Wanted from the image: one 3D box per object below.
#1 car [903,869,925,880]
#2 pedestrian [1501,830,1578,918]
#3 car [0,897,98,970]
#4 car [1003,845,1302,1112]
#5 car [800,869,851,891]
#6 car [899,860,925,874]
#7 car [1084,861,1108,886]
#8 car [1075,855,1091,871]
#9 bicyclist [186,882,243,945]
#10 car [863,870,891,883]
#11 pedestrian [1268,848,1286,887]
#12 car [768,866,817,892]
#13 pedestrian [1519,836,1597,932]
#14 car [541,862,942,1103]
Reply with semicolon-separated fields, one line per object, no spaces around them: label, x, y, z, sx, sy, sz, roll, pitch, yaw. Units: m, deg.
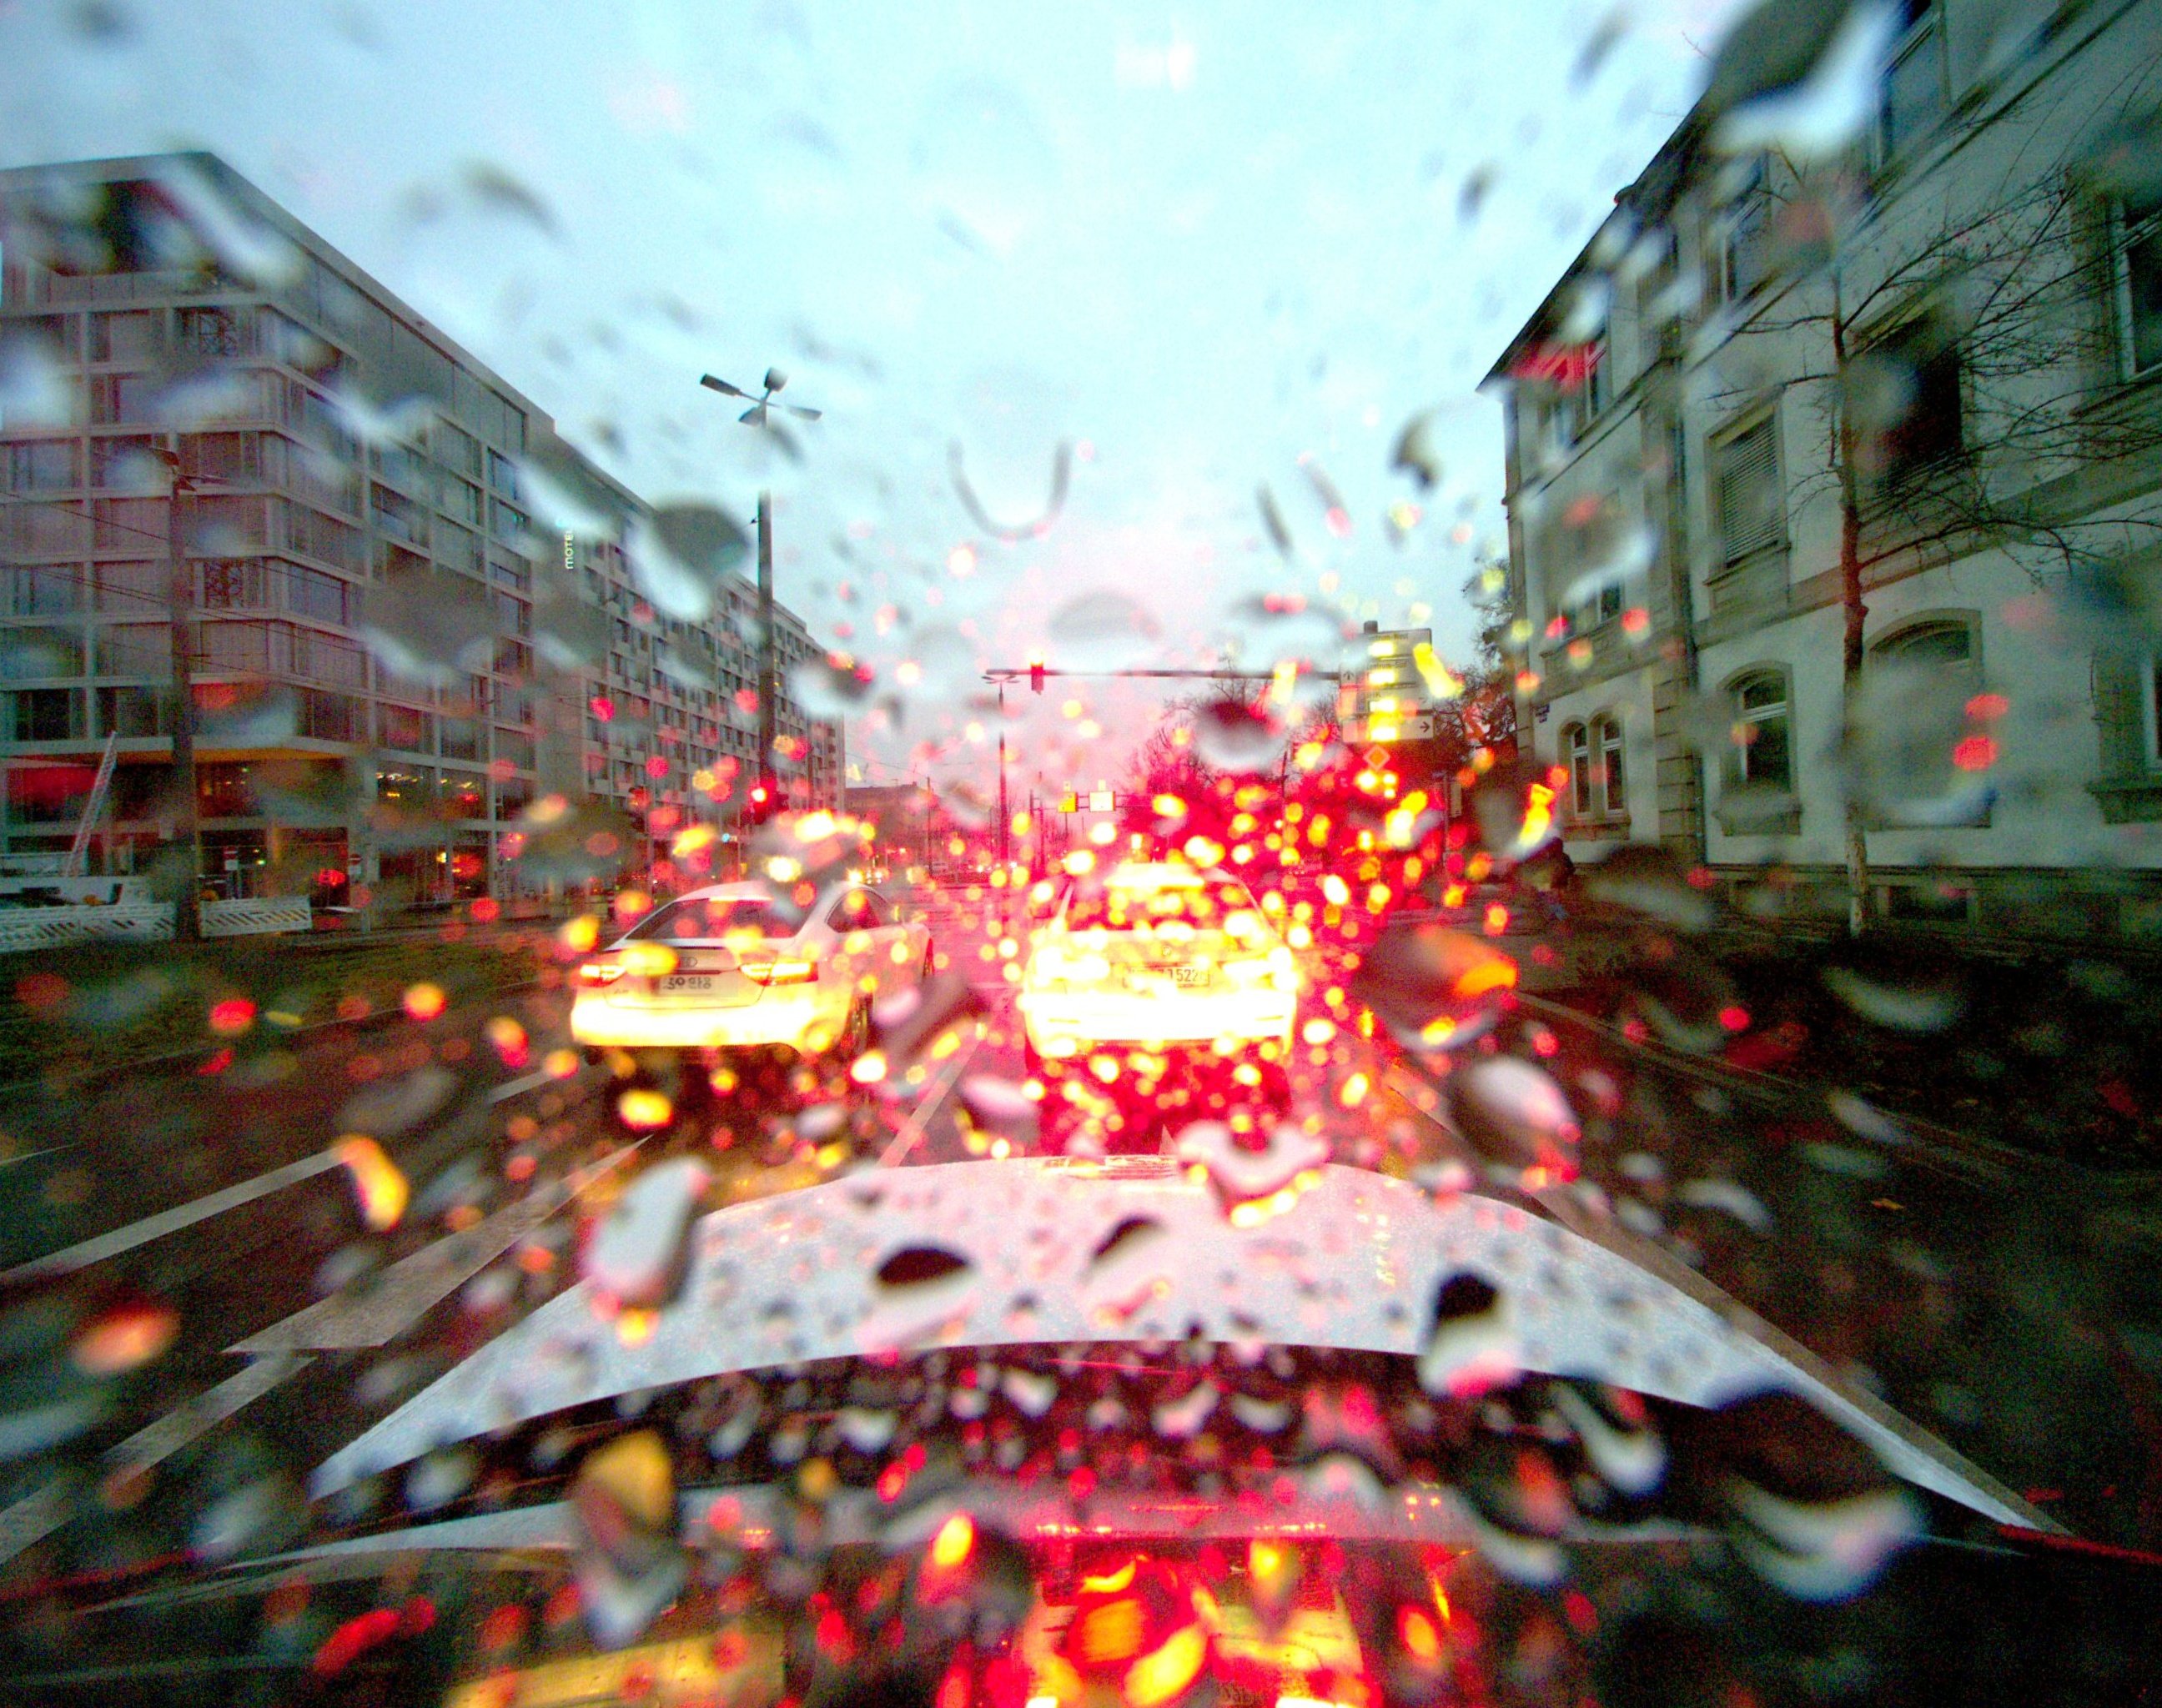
car;-22.922;2.761;111.931;1.987;1.462;5.094;0;-1;0
pedestrian;8.798;0.375;15.646;0.784;1.632;1.004;0;-1;-22
car;-27.405;2.000;19.769;1.935;1.687;4.106;-1;-1;23
car;0.416;0.749;6.934;1.754;1.552;4.250;0;-1;0
car;-18.721;1.894;59.994;1.986;1.462;5.097;0;-1;2
car;-18.426;1.366;89.096;1.988;1.462;5.090;0;-1;-2
car;1.279;1.566;67.833;1.986;2.014;4.001;0;-1;2
car;0.278;1.197;110.036;1.986;2.014;4.001;0;-1;2
bicyclist;-39.868;2.715;37.482;1.340;2.828;1.195;0;-1;7
car;-23.732;2.627;95.053;1.987;1.462;5.094;0;-1;0
pedestrian;9.564;0.675;39.799;0.671;1.879;0.715;0;-1;-1
car;-21.794;1.858;61.665;1.873;1.789;4.602;0;-1;3
pedestrian;8.135;0.504;13.935;0.778;1.579;1.012;0;-1;5
car;-2.460;0.813;7.175;1.754;1.470;4.250;0;-1;0
